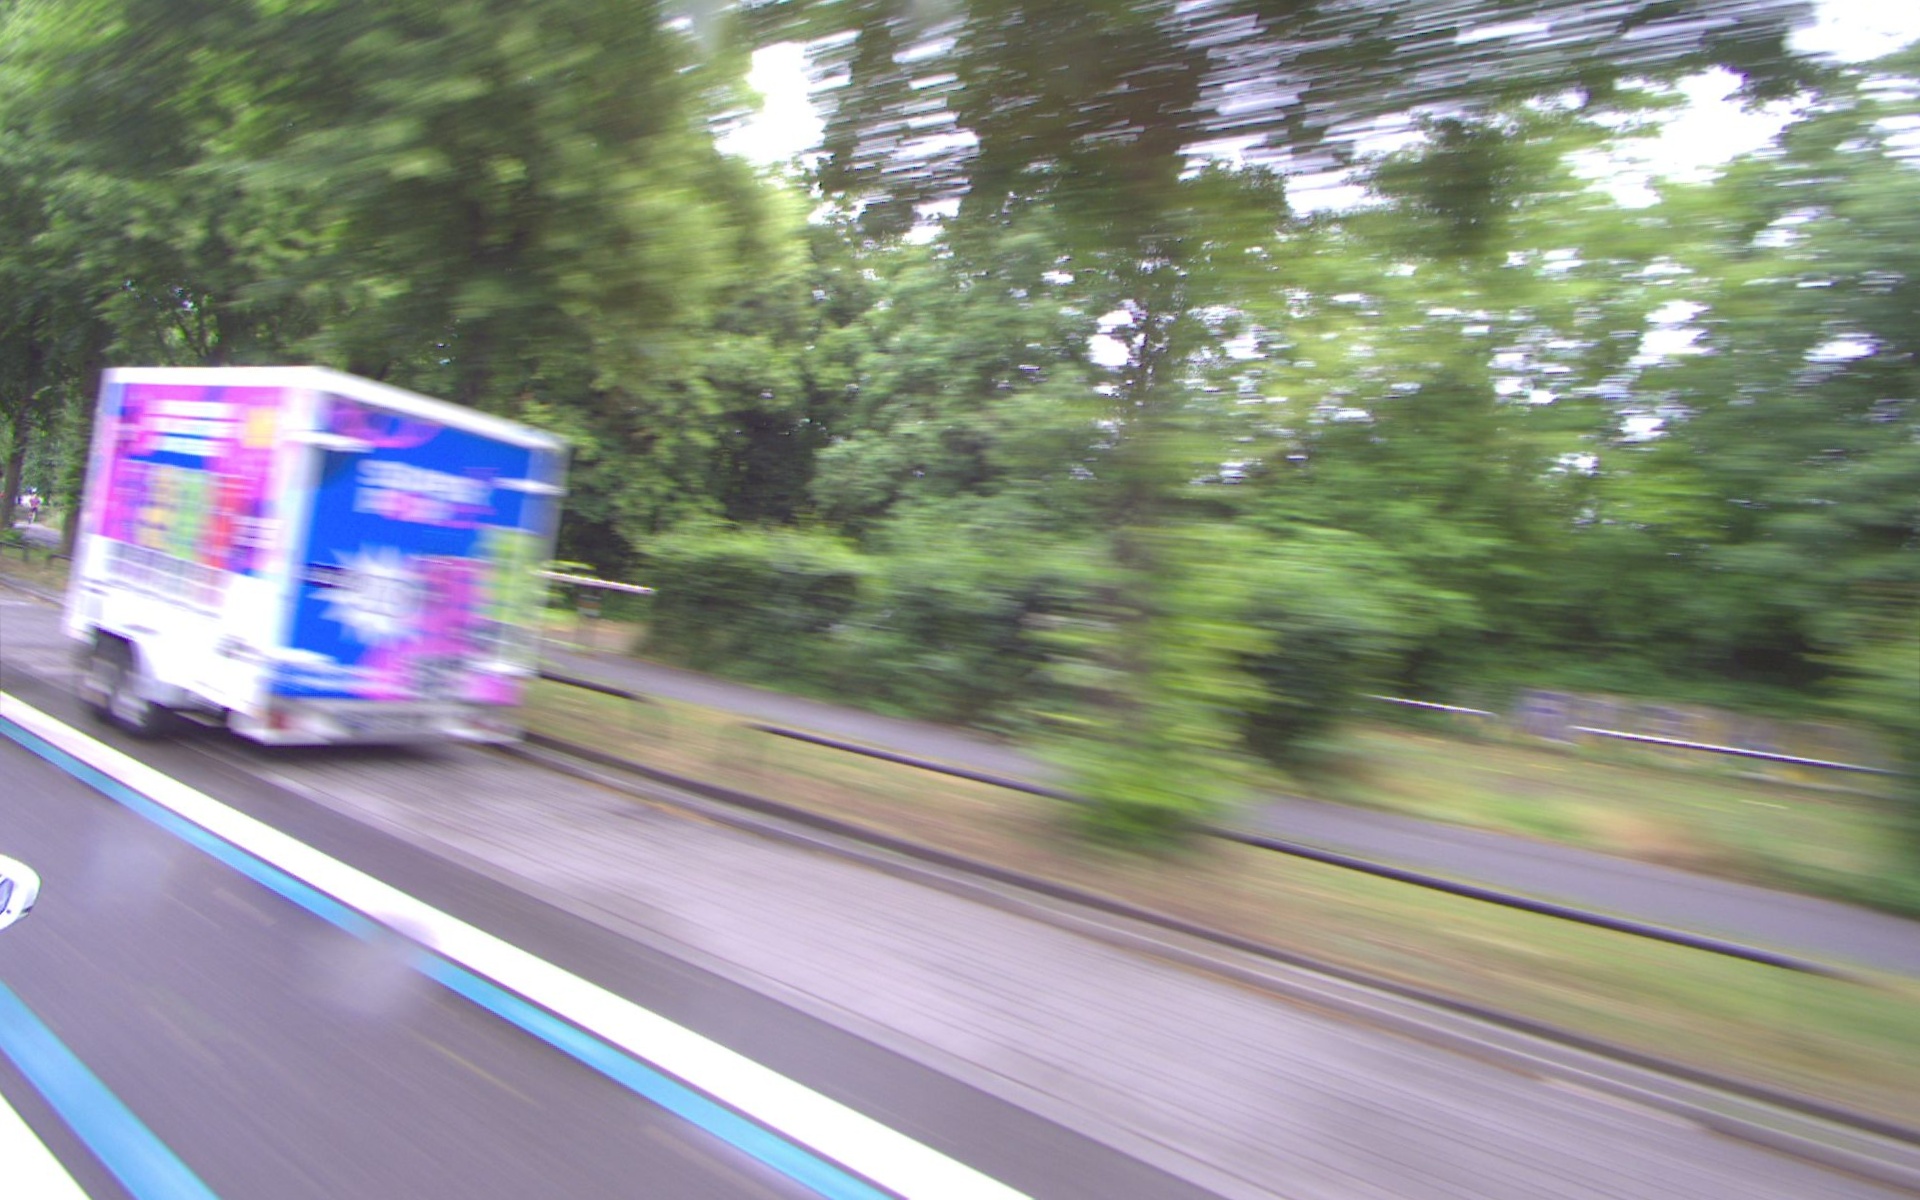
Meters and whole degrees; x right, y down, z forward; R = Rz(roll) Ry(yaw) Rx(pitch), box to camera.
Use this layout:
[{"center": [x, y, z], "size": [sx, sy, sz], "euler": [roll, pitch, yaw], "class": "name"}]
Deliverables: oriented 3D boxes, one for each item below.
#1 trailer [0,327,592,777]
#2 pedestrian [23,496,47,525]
[{"center": [-5.885, -0.424, 8.418], "size": [5.289, 2.703, 2.319], "euler": [7, -1, 33], "class": "trailer"}, {"center": [-59.947, -5.796, 65.209], "size": [0.883, 1.753, 1.134], "euler": [8, -1, -38], "class": "pedestrian"}]
